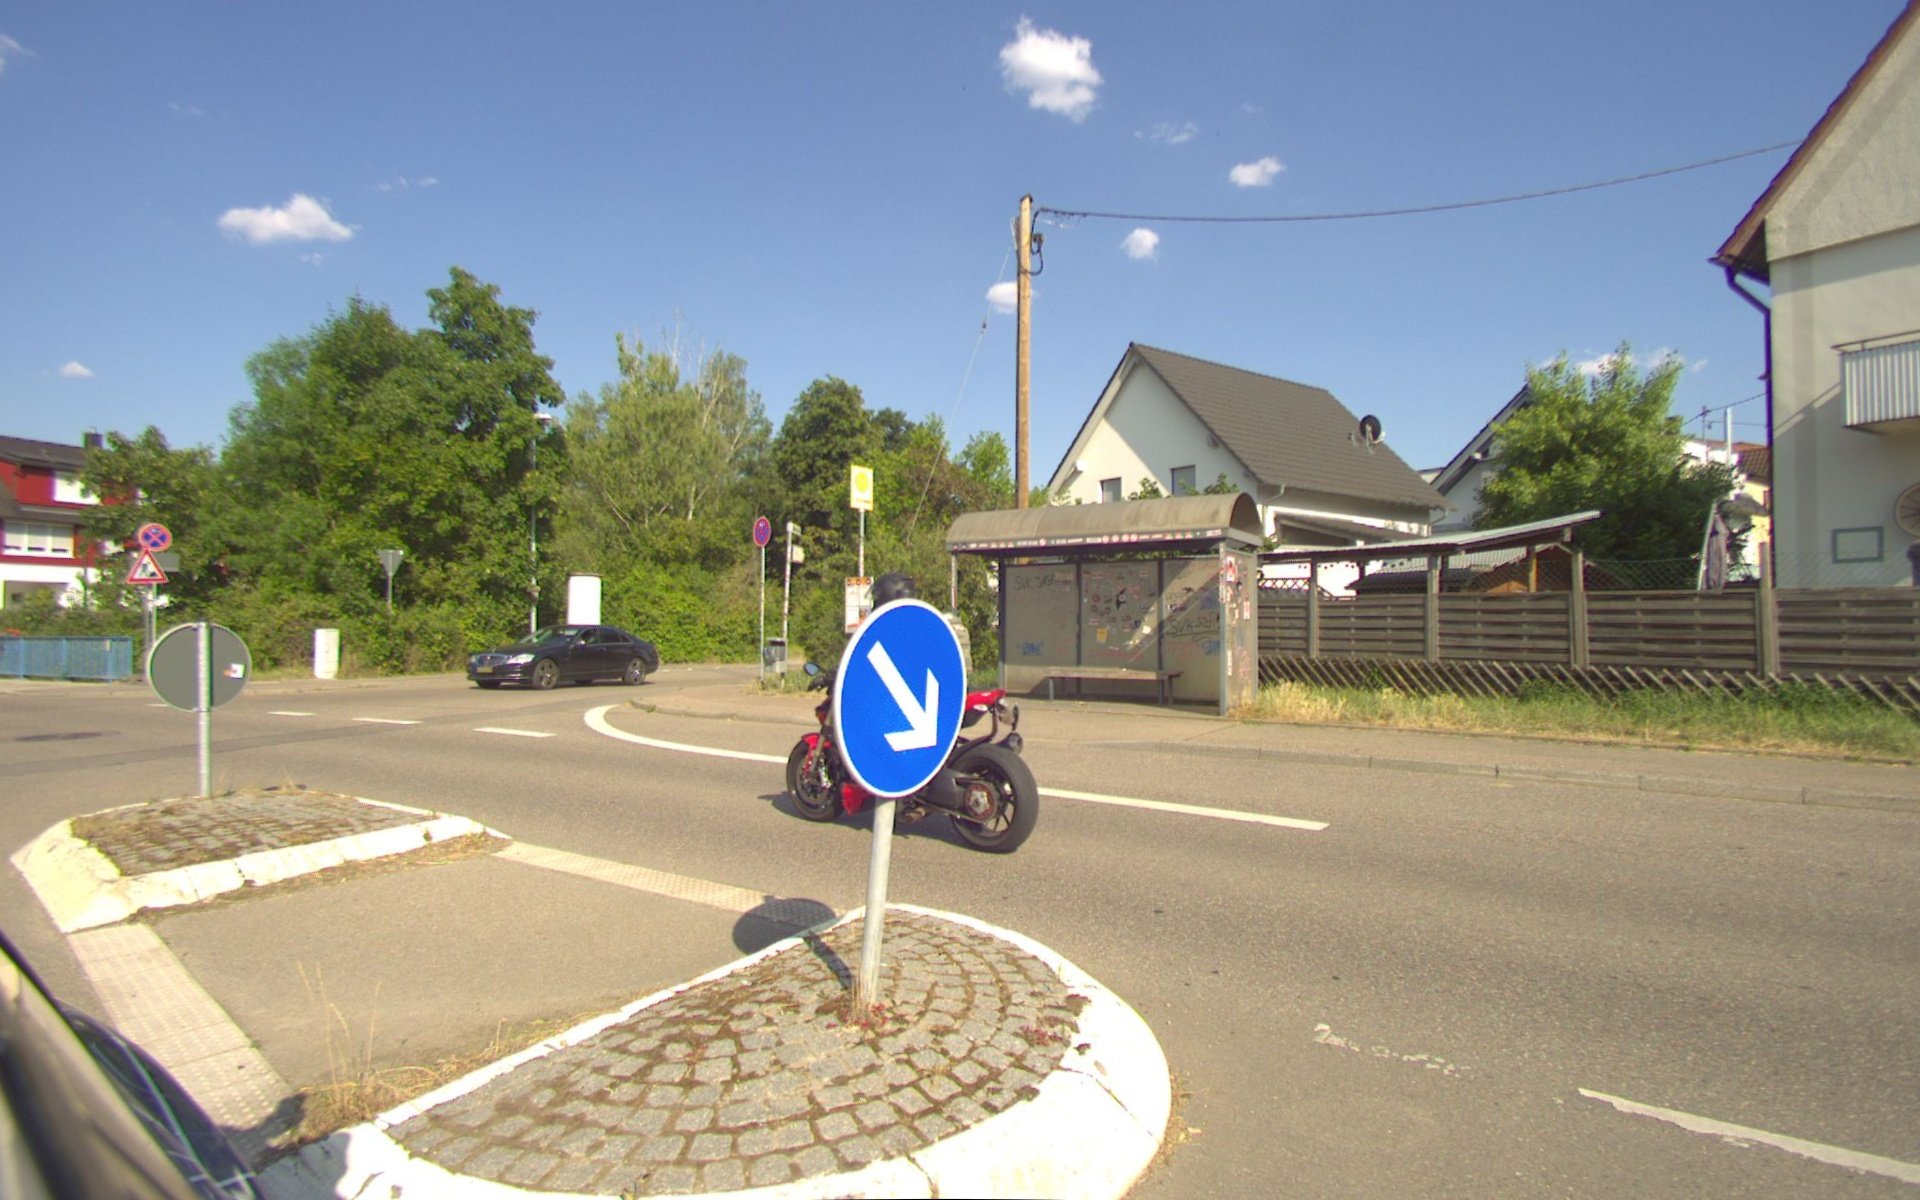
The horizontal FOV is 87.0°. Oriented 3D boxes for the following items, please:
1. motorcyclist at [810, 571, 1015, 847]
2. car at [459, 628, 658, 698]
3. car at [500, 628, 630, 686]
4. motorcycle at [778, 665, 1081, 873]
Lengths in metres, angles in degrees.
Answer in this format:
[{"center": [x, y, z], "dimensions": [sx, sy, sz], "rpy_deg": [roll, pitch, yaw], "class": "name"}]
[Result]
[{"center": [-0.296, 0.602, 6.244], "dimensions": [1.015, 1.538, 0.729], "rpy_deg": [-1, 1, 40], "class": "motorcyclist"}, {"center": [-9.295, 1.418, 23.928], "dimensions": [1.756, 1.442, 4.817], "rpy_deg": [0, -2, 17], "class": "car"}, {"center": [-11.246, 1.594, 29.160], "dimensions": [1.838, 1.503, 4.270], "rpy_deg": [0, -2, 4], "class": "car"}, {"center": [-0.258, 0.961, 6.275], "dimensions": [2.026, 1.020, 0.533], "rpy_deg": [-1, 0, 40], "class": "motorcycle"}]
